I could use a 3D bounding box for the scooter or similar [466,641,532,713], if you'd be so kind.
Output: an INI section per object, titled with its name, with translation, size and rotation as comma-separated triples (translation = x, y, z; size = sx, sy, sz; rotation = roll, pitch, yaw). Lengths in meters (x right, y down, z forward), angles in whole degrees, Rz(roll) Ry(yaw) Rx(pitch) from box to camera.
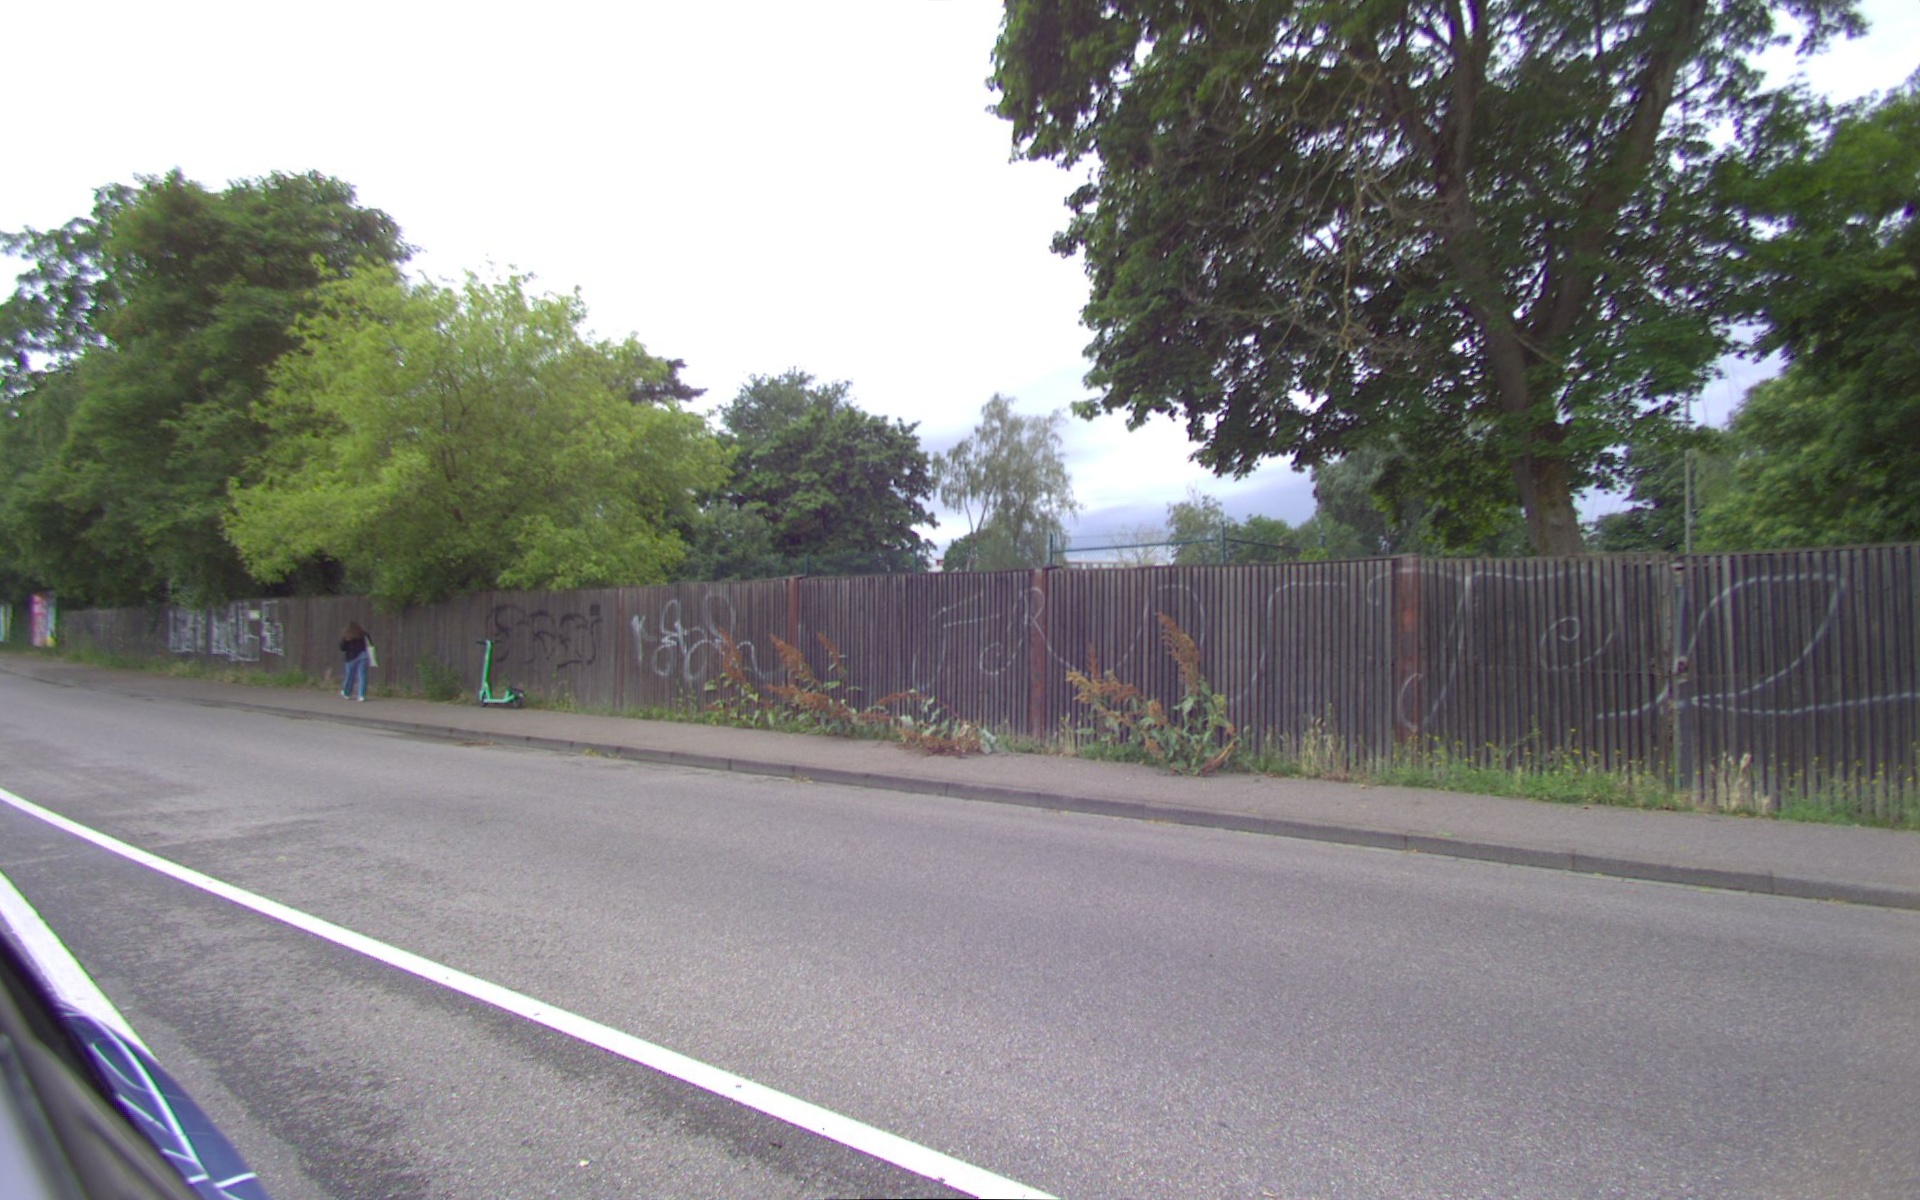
[scooter or similar]
translation = -7.828, 1.283, 17.172
size = 1.301, 1.179, 0.419
rotation = -1, -2, 36

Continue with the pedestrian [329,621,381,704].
[pedestrian]
translation = -11.488, 1.164, 19.227
size = 0.723, 1.541, 0.606
rotation = -2, -2, 36
